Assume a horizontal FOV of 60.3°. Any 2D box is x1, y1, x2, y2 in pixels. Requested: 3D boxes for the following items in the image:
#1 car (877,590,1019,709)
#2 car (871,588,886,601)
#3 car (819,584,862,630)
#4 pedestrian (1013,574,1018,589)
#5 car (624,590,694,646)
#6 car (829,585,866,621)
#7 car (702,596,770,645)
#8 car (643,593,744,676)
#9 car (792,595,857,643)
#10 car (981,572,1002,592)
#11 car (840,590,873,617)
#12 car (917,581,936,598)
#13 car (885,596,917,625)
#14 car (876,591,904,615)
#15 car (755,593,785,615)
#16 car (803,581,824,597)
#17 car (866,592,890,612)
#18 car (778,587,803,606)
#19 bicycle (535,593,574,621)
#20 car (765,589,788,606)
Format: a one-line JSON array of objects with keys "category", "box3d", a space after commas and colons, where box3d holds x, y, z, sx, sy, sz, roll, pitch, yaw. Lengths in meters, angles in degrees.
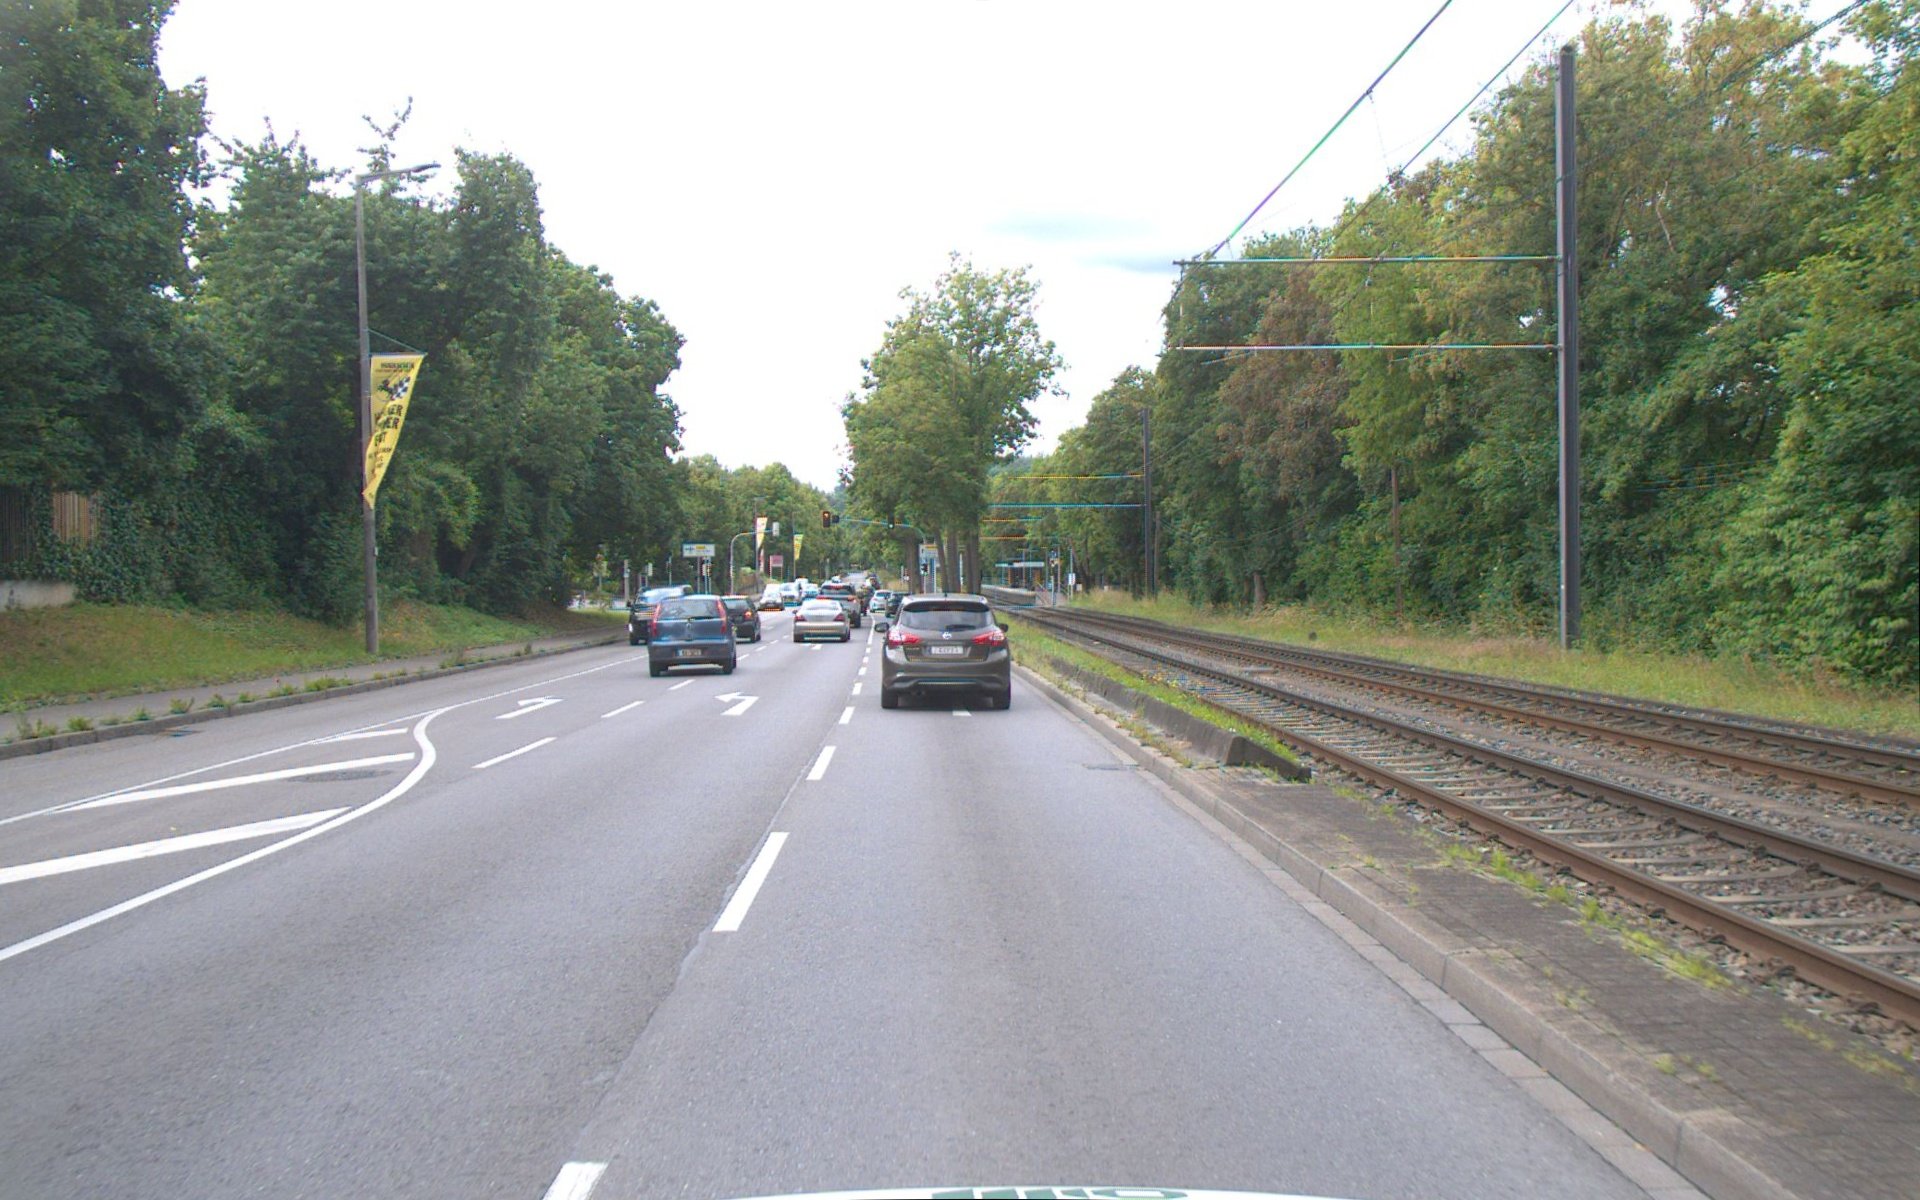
[{"category": "car", "box3d": [-0.144, 0.645, 23.378, 1.812, 1.519, 4.000, 1, 0, 0]}, {"category": "car", "box3d": [-10.349, -0.691, 209.144, 1.680, 1.577, 4.000, 0, 0, 0]}, {"category": "car", "box3d": [-5.078, 0.304, 70.762, 1.681, 1.896, 3.998, 0, 0, -2]}, {"category": "pedestrian", "box3d": [6.461, -2.172, 192.400, 0.635, 1.690, 0.650, 0, 0, -1]}, {"category": "car", "box3d": [-9.928, 0.579, 54.736, 1.680, 1.791, 3.999, 0, 0, -2]}, {"category": "car", "box3d": [-5.947, 0.168, 87.661, 1.680, 1.896, 4.000, 0, 0, 0]}, {"category": "car", "box3d": [-7.009, 0.622, 52.017, 1.680, 1.460, 3.999, 0, 0, -2]}, {"category": "car", "box3d": [-5.170, 0.637, 32.463, 1.667, 1.469, 3.995, -1, 0, -6]}, {"category": "car", "box3d": [-4.235, 0.583, 52.200, 1.680, 1.460, 4.000, 0, 0, 0]}, {"category": "car", "box3d": [2.711, -1.582, 143.774, 1.680, 1.692, 3.706, 0, 0, -2]}, {"category": "car", "box3d": [-6.116, 0.201, 98.016, 1.758, 1.537, 3.999, 0, 0, -1]}, {"category": "car", "box3d": [-3.133, -0.939, 155.338, 1.680, 1.577, 4.000, 0, 0, 0]}, {"category": "car", "box3d": [-3.283, 0.567, 92.696, 1.680, 1.577, 4.000, 0, 0, 0]}, {"category": "car", "box3d": [-4.672, 0.190, 110.687, 1.680, 1.577, 4.000, 0, 0, 0]}, {"category": "car", "box3d": [-13.736, 0.269, 119.489, 1.680, 1.577, 4.000, 0, 0, 0]}, {"category": "car", "box3d": [-14.851, -1.130, 167.708, 1.680, 1.577, 4.000, 0, 0, 0]}, {"category": "car", "box3d": [-6.558, 0.144, 131.968, 1.680, 1.577, 4.000, 0, 0, 0]}, {"category": "car", "box3d": [-14.164, -0.300, 138.270, 1.680, 1.577, 4.000, 0, 0, 0]}, {"category": "bicycle", "box3d": [-16.929, 0.286, 69.063, 0.489, 1.127, 1.796, 0, 0, 30]}, {"category": "car", "box3d": [-17.422, -0.191, 157.042, 1.680, 1.577, 4.000, 0, 0, 0]}]
